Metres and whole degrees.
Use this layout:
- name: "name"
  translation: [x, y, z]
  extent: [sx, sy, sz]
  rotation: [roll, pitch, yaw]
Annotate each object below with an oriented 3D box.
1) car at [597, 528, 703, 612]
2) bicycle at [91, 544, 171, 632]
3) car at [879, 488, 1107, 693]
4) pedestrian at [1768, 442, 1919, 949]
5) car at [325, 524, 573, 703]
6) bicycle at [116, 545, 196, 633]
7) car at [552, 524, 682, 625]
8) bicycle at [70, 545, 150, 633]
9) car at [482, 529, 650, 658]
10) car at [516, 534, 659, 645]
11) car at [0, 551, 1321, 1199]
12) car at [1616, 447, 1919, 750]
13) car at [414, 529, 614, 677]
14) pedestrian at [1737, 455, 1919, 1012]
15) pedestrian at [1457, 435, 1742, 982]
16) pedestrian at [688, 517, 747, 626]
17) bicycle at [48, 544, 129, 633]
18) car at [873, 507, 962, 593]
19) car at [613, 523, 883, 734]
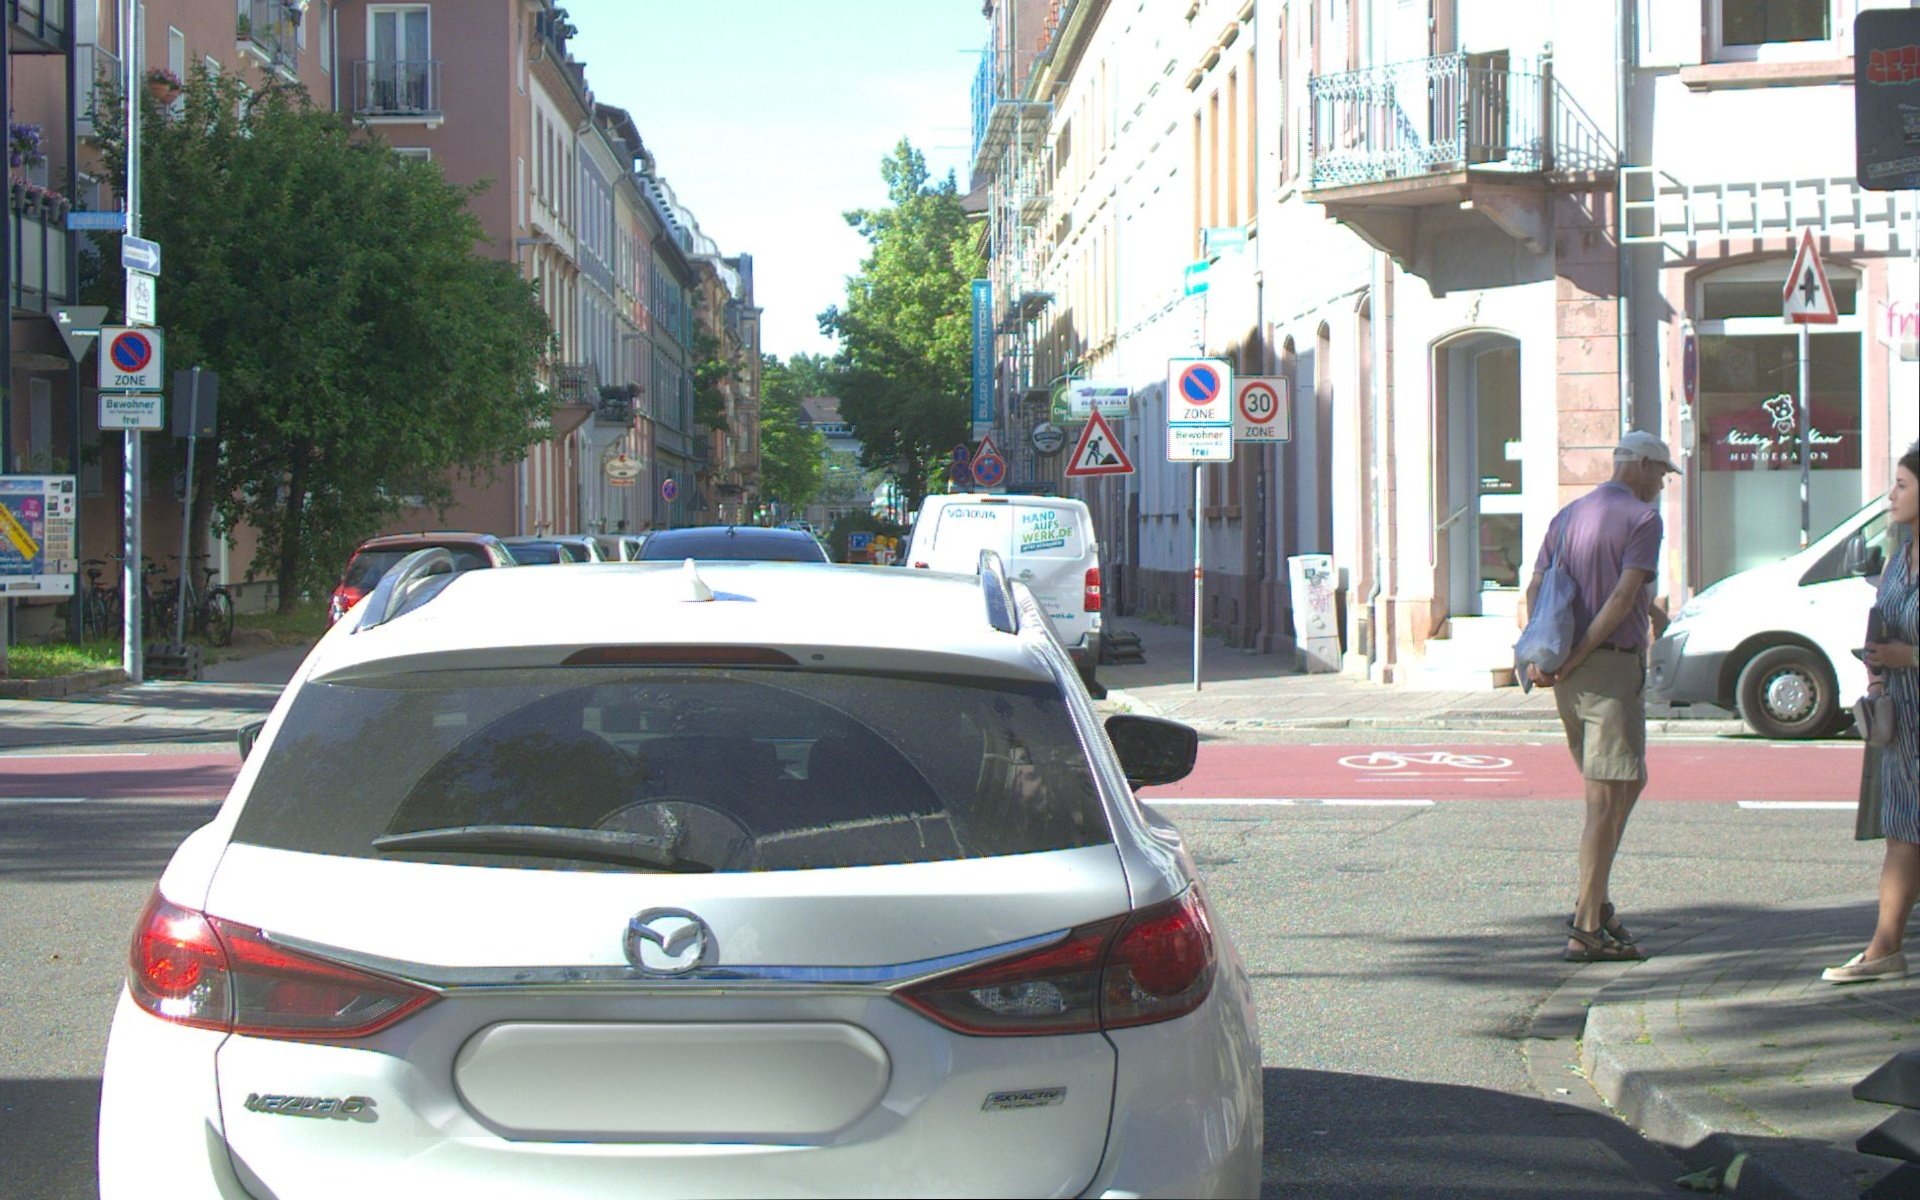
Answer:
- name: "car"
  translation: [-5.674, -0.582, 63.234]
  extent: [1.653, 1.495, 3.763]
  rotation: [0, 1, -1]
- name: "bicycle"
  translation: [-10.222, -0.151, 42.387]
  extent: [1.215, 1.068, 0.253]
  rotation: [1, 2, 38]
- name: "car"
  translation: [0.249, -0.142, 34.540]
  extent: [1.894, 1.853, 5.015]
  rotation: [2, 1, -3]
- name: "pedestrian"
  translation: [3.321, 0.304, 11.747]
  extent: [0.836, 1.661, 0.626]
  rotation: [-4, -2, 0]
- name: "car"
  translation: [-4.508, 0.070, 30.796]
  extent: [1.685, 1.495, 3.807]
  rotation: [0, 1, -1]
- name: "bicycle"
  translation: [-9.952, -0.145, 42.548]
  extent: [1.218, 1.068, 0.253]
  rotation: [1, 2, 38]
- name: "car"
  translation: [-5.257, -0.421, 53.020]
  extent: [1.653, 1.495, 3.763]
  rotation: [0, 1, -1]
- name: "bicycle"
  translation: [-10.418, -0.143, 42.132]
  extent: [1.215, 1.067, 0.253]
  rotation: [1, 2, 38]
- name: "car"
  translation: [-4.764, -0.120, 41.974]
  extent: [1.653, 1.495, 3.763]
  rotation: [0, 1, -1]
- name: "car"
  translation: [-5.239, -0.181, 48.717]
  extent: [1.653, 1.495, 3.763]
  rotation: [0, 1, -1]
- name: "car"
  translation: [-0.464, 0.655, 6.530]
  extent: [1.831, 1.452, 3.962]
  rotation: [0, 1, -1]
- name: "car"
  translation: [7.043, -0.029, 22.751]
  extent: [5.015, 1.939, 2.049]
  rotation: [0, 1, 22]
- name: "car"
  translation: [-4.727, -0.010, 36.880]
  extent: [1.653, 1.495, 4.080]
  rotation: [0, 1, -1]
- name: "pedestrian"
  translation: [2.910, 0.353, 10.245]
  extent: [0.844, 1.568, 0.846]
  rotation: [-6, 0, 0]
- name: "pedestrian"
  translation: [2.144, 0.346, 11.614]
  extent: [0.749, 1.758, 0.831]
  rotation: [-2, 1, -1]
- name: "pedestrian"
  translation: [-3.627, -0.425, 51.408]
  extent: [0.733, 1.608, 0.816]
  rotation: [-1, 1, -13]
- name: "bicycle"
  translation: [-10.614, -0.145, 41.851]
  extent: [1.215, 1.068, 0.265]
  rotation: [1, 2, 38]
- name: "car"
  translation: [-0.940, -1.117, 75.702]
  extent: [1.894, 1.853, 3.995]
  rotation: [0, 1, -1]
- name: "car"
  translation: [-1.469, 0.147, 25.226]
  extent: [1.760, 1.405, 4.328]
  rotation: [0, 1, -1]
